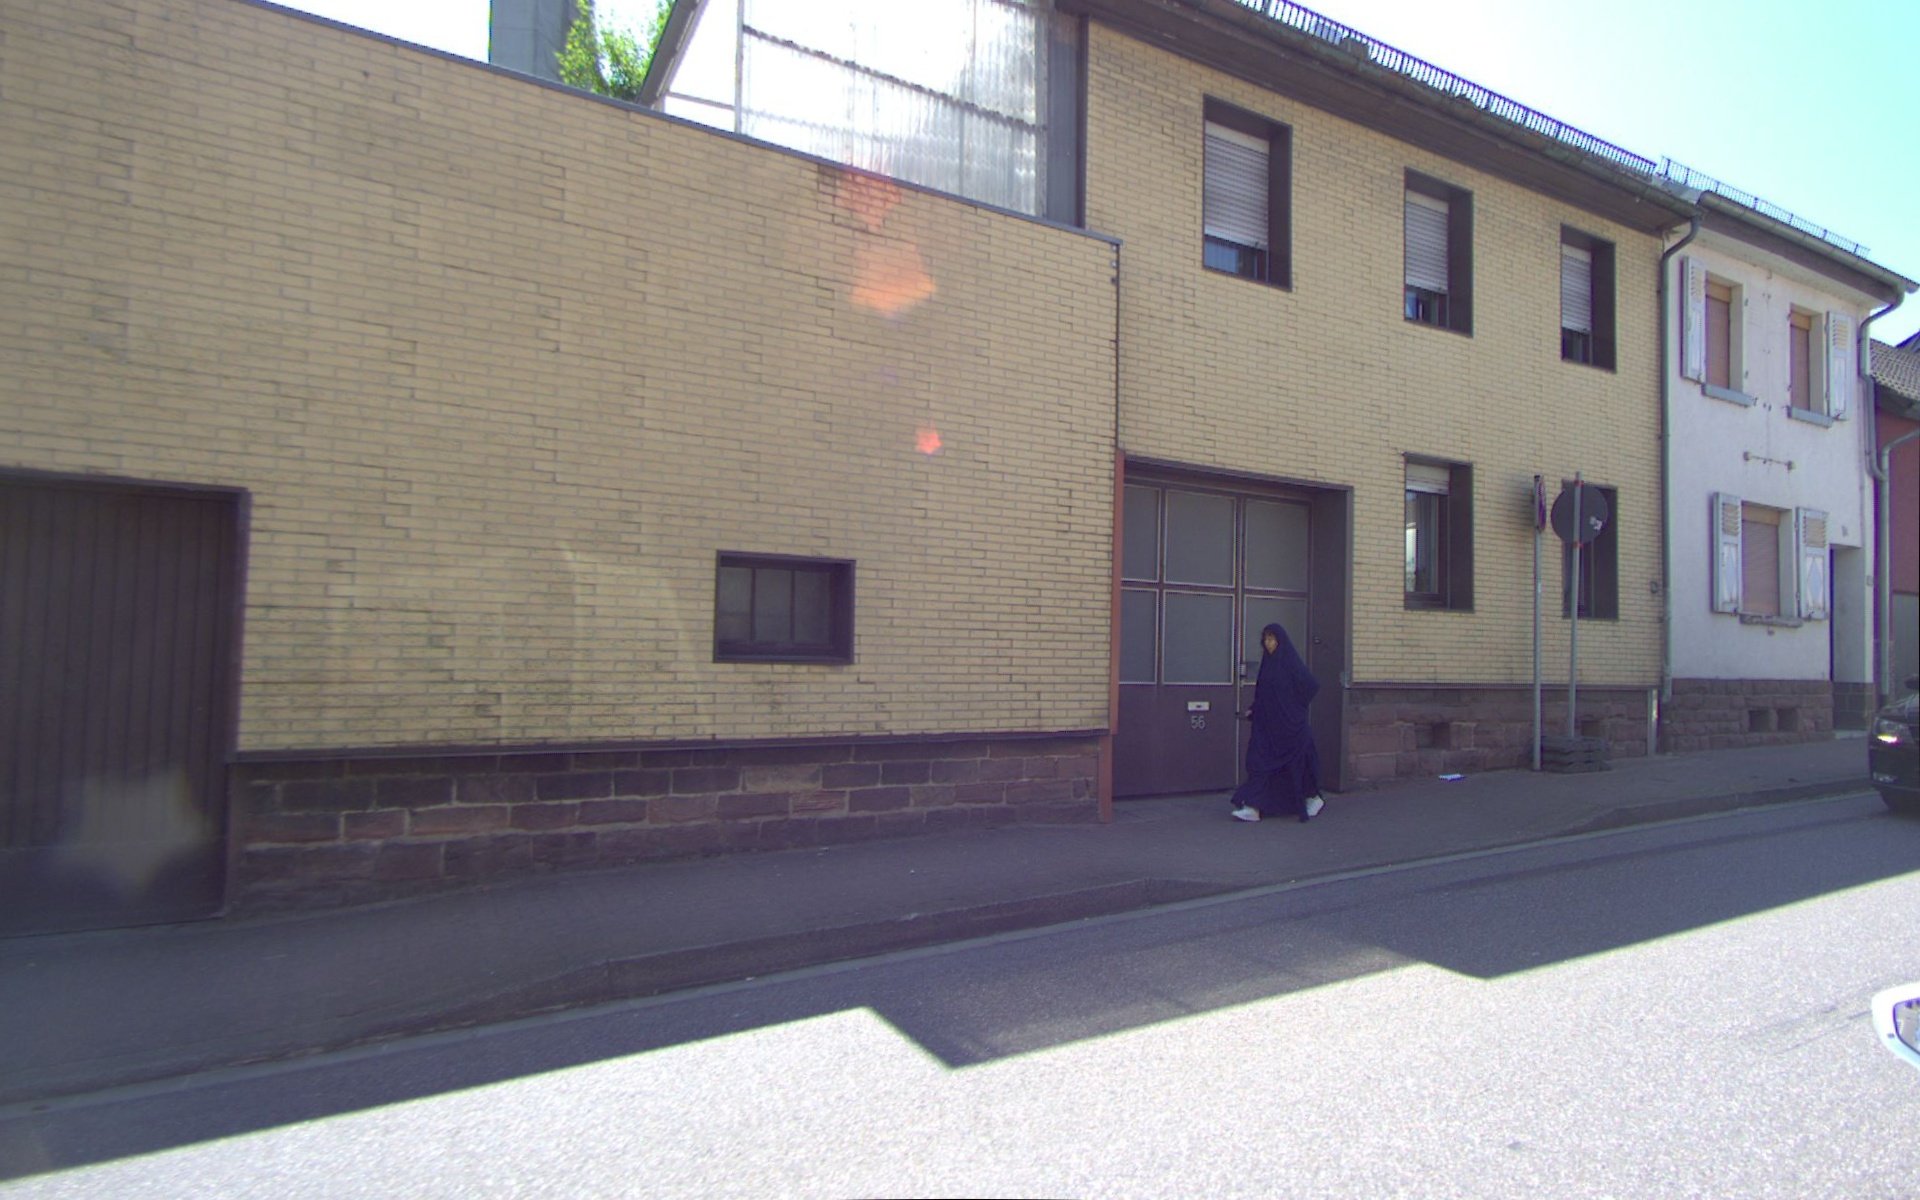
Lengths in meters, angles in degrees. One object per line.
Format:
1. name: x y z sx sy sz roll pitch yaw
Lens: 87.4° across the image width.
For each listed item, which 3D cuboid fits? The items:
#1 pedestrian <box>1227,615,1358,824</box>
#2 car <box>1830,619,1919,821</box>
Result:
1. pedestrian: 2.670 0.917 8.092 0.745 1.585 0.659 1 0 -28
2. car: 9.834 1.009 8.881 4.283 1.630 1.804 2 -4 -28
